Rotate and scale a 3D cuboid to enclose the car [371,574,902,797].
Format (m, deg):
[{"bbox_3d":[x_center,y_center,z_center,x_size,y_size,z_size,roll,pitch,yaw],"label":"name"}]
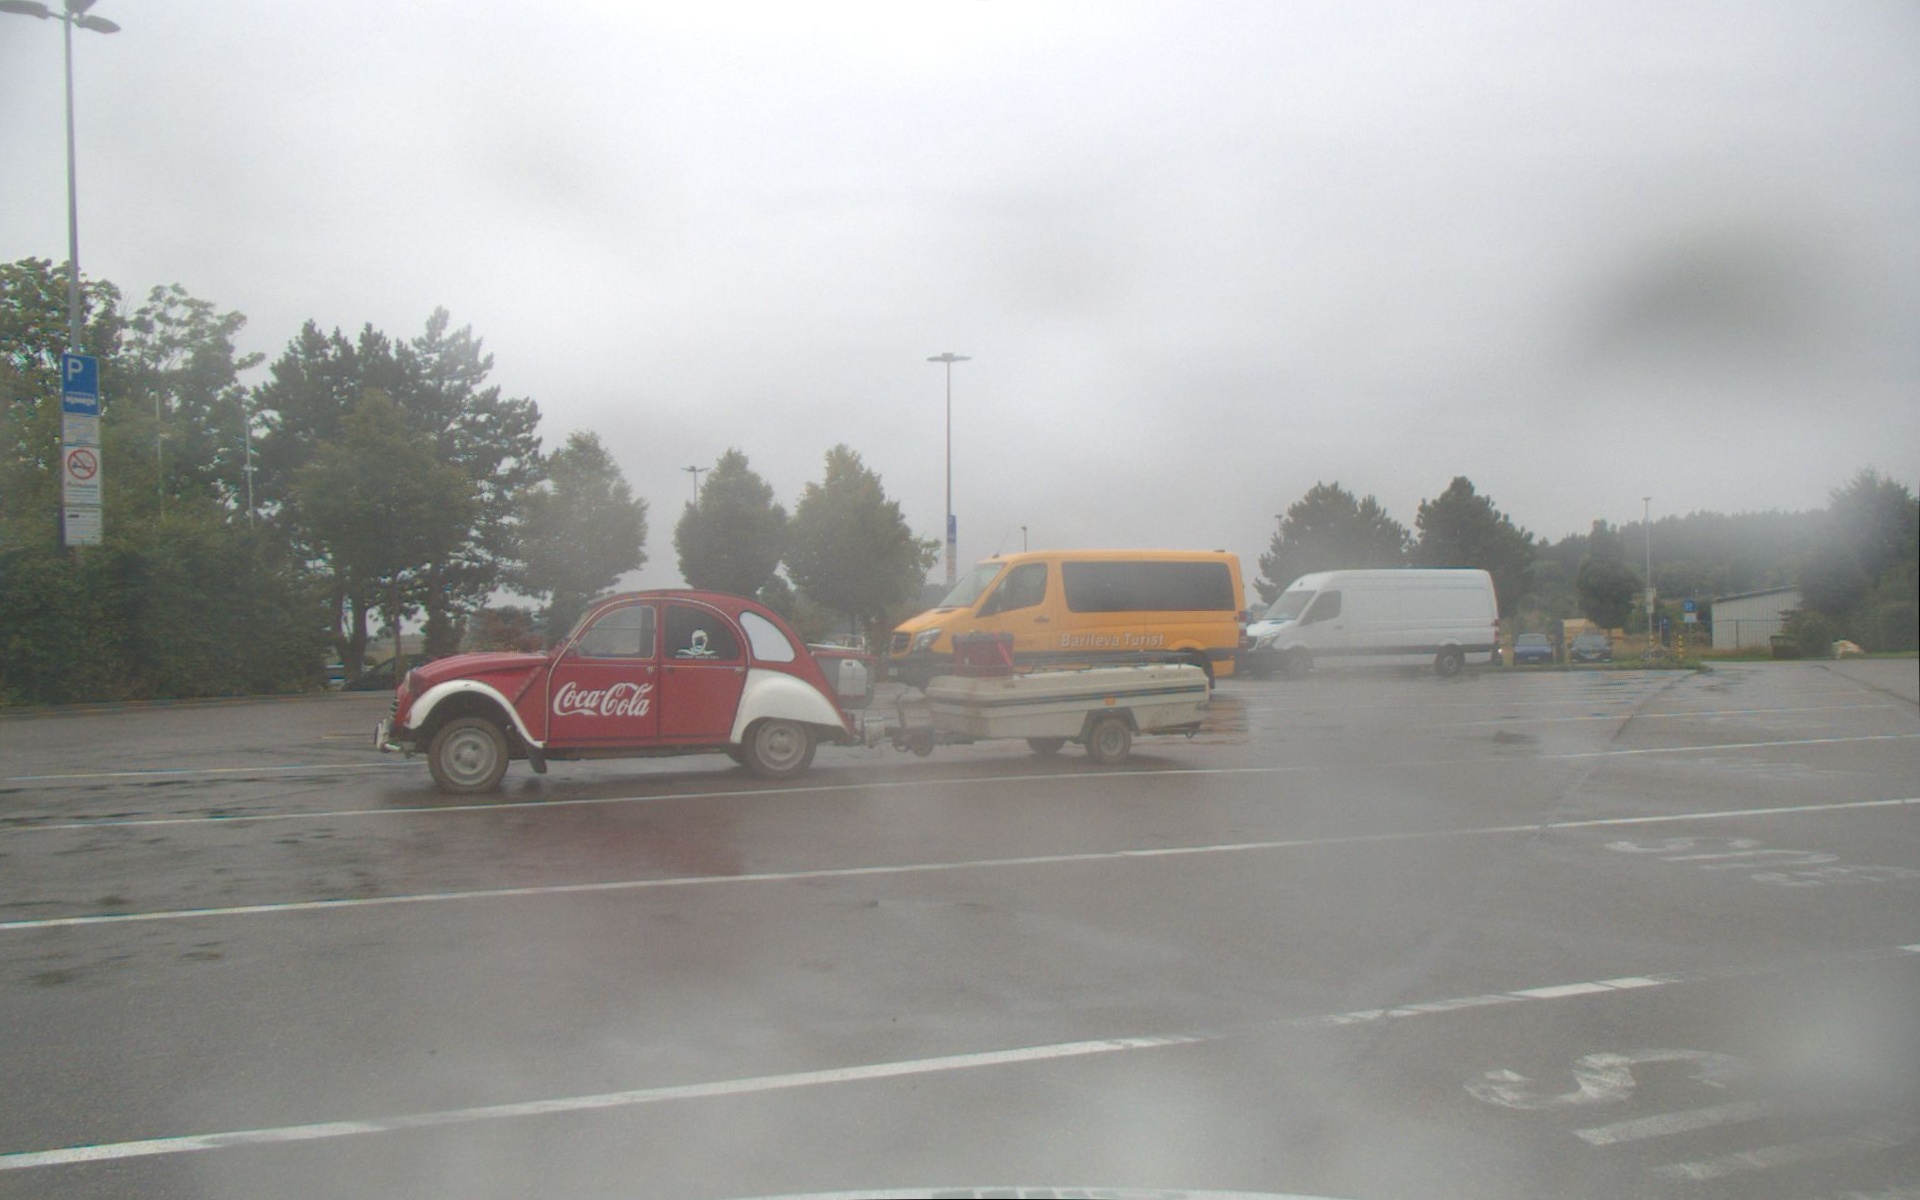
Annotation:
[{"bbox_3d":[-2.581,0.617,13.382,3.977,1.583,1.543,-1,0,-16],"label":"car"}]

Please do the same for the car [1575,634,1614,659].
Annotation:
[{"bbox_3d":[30.123,2.190,78.489,1.669,1.018,3.768,-1,0,21],"label":"car"}]

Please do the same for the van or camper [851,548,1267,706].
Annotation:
[{"bbox_3d":[1.586,0.365,26.356,6.300,2.286,2.123,-1,0,-19],"label":"van or camper"}]

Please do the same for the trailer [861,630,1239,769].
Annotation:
[{"bbox_3d":[0.750,0.823,14.483,2.971,1.086,1.582,0,-1,-16],"label":"trailer"}]

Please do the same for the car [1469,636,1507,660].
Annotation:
[{"bbox_3d":[25.231,2.273,78.980,1.464,1.018,3.570,-1,0,21],"label":"car"}]

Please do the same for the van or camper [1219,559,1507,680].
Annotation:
[{"bbox_3d":[9.906,0.411,40.583,6.938,2.762,1.990,-1,2,-19],"label":"van or camper"}]

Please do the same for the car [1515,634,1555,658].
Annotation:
[{"bbox_3d":[27.682,2.216,79.579,1.669,1.018,3.768,-1,0,21],"label":"car"}]
